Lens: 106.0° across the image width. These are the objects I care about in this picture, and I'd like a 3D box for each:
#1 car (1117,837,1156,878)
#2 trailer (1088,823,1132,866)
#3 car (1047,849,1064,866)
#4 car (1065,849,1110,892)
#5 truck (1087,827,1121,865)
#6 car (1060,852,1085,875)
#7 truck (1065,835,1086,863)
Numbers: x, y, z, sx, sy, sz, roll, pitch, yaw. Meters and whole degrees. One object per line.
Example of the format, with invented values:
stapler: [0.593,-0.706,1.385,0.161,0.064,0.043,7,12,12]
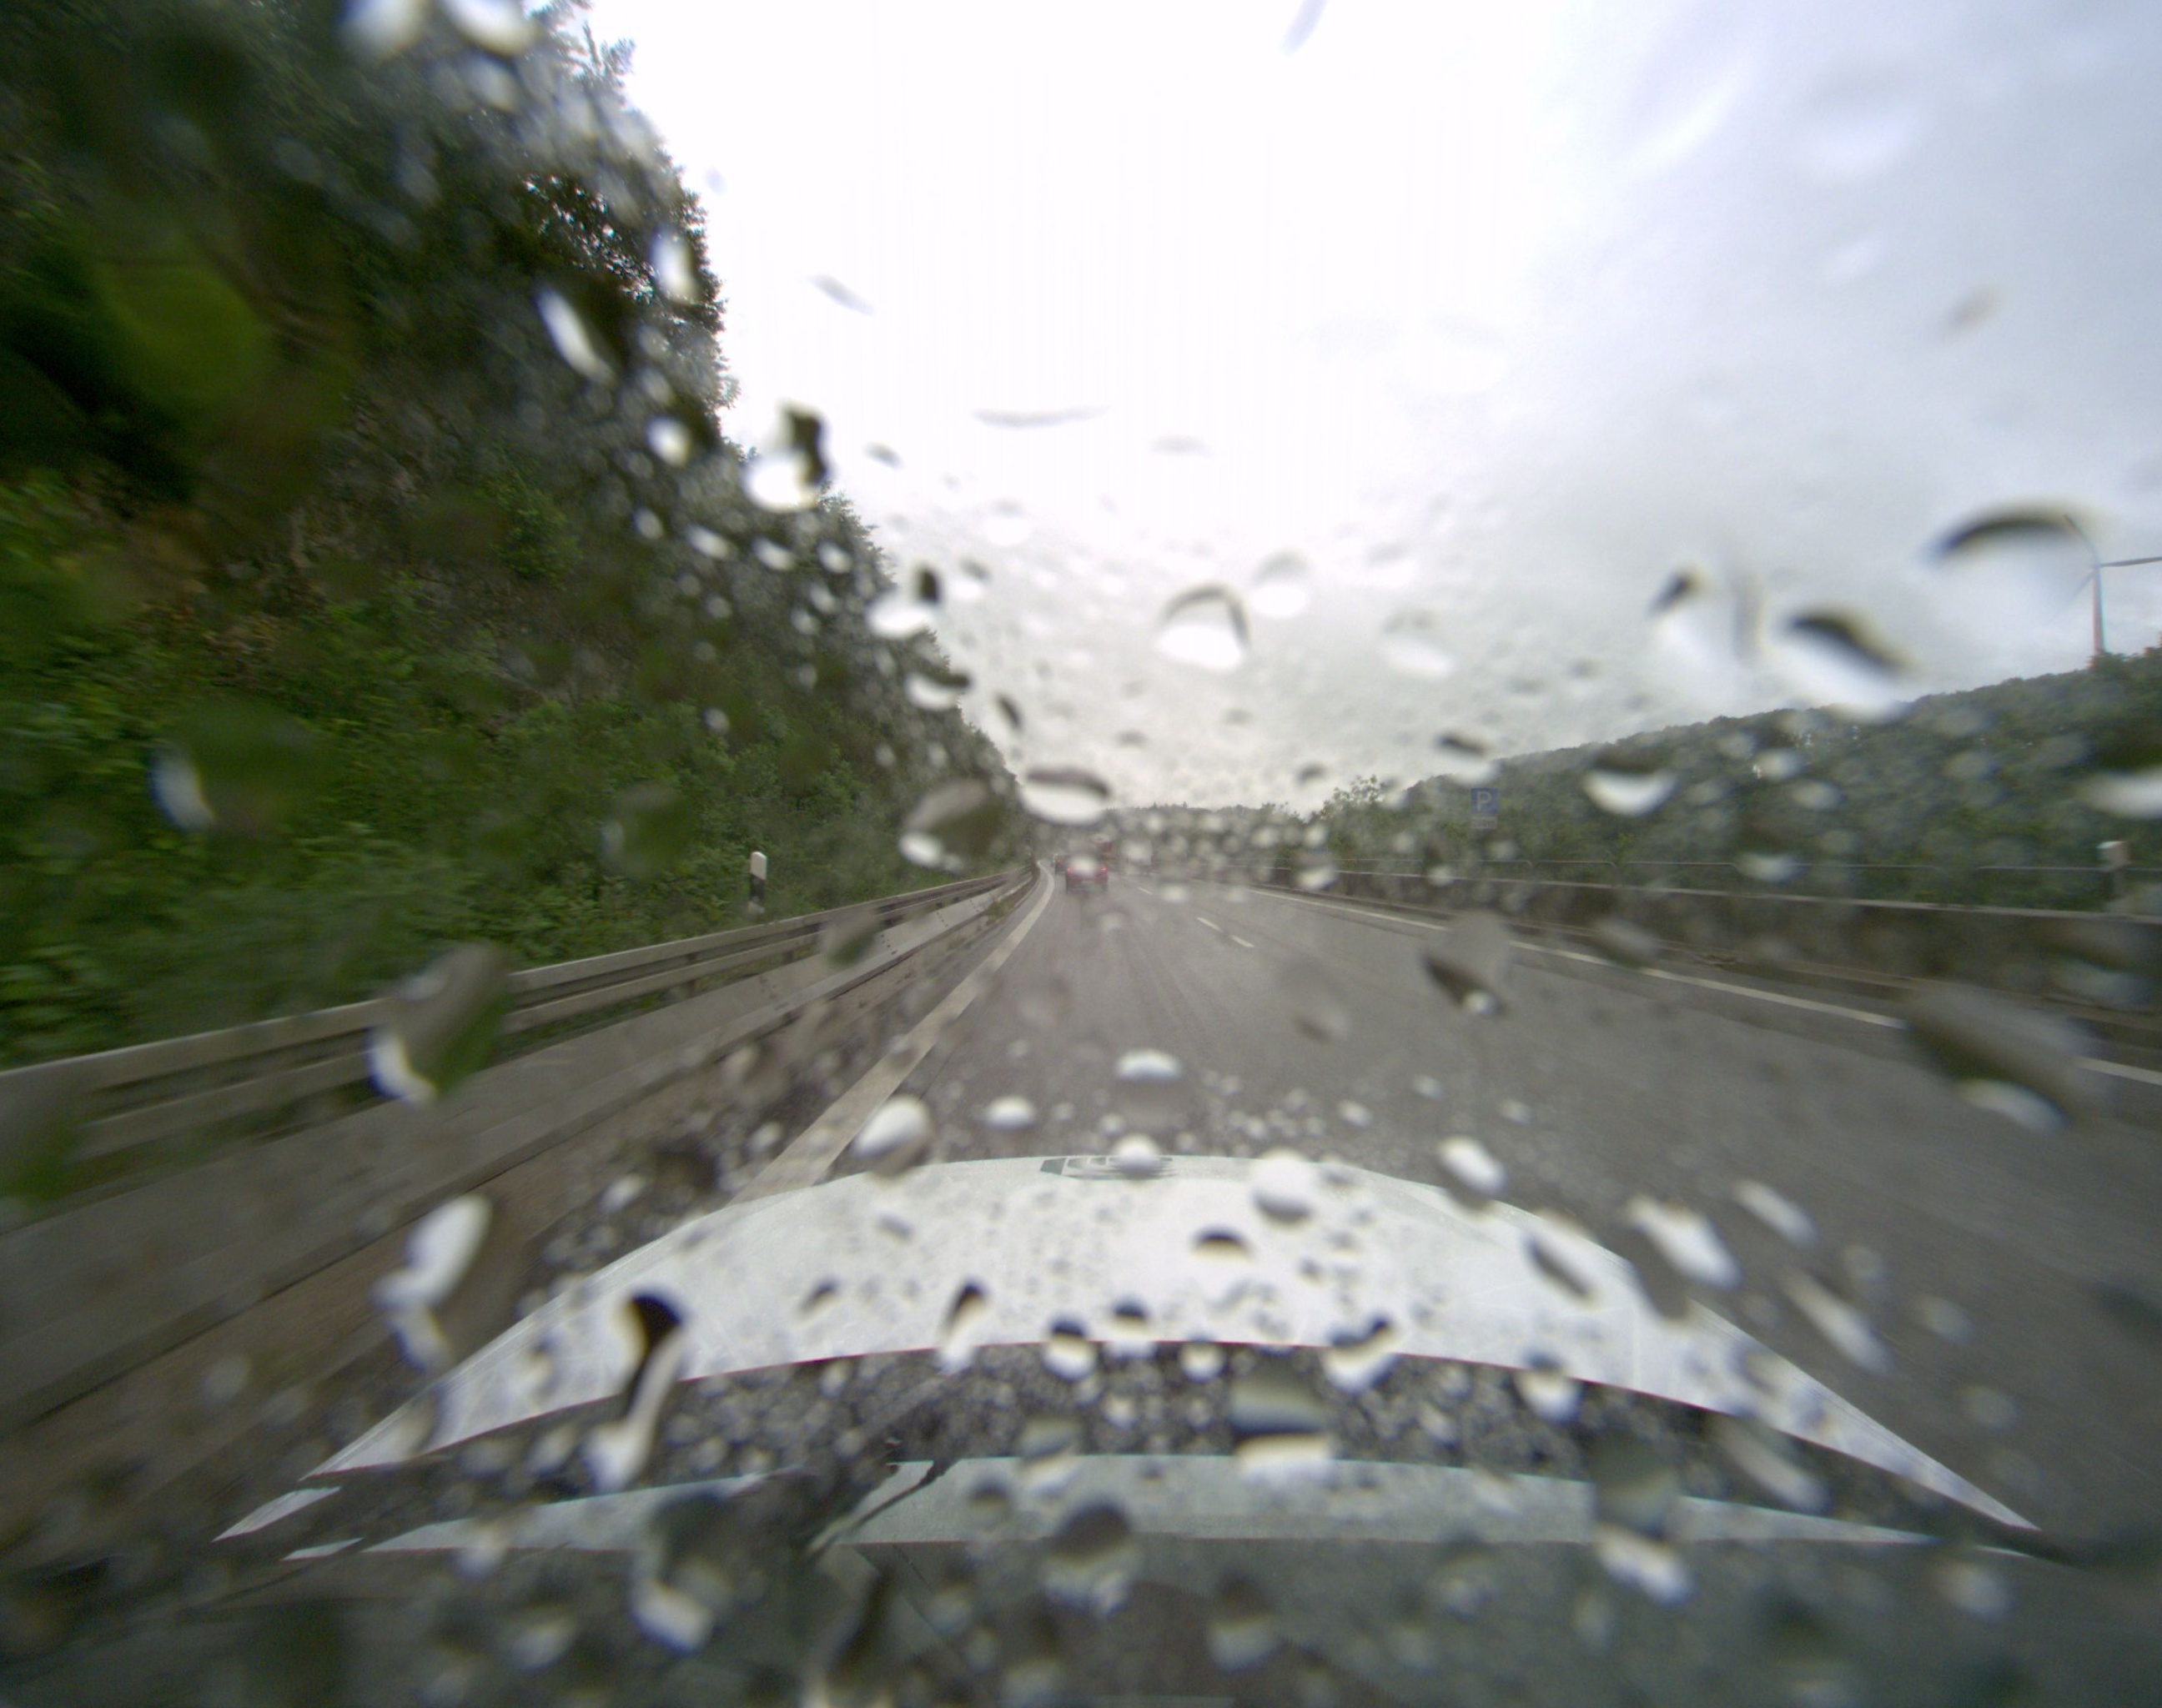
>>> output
car: [4.081,0.257,61.091,2.199,2.794,7.380,2,0,-1]
trailer: [2.763,-0.870,82.385,3.211,3.999,13.510,1,0,-3]
car: [-2.774,0.353,89.045,1.712,1.817,3.887,-1,-1,-4]
car: [0.212,0.659,34.404,1.753,1.684,3.998,-1,-1,-1]
truck: [2.449,-0.849,89.251,3.213,3.978,5.432,1,0,-3]
car: [-0.701,0.734,62.727,1.818,1.696,3.996,-1,-1,-2]
truck: [-1.034,-0.803,140.329,3.215,4.682,8.291,-1,-1,-3]
